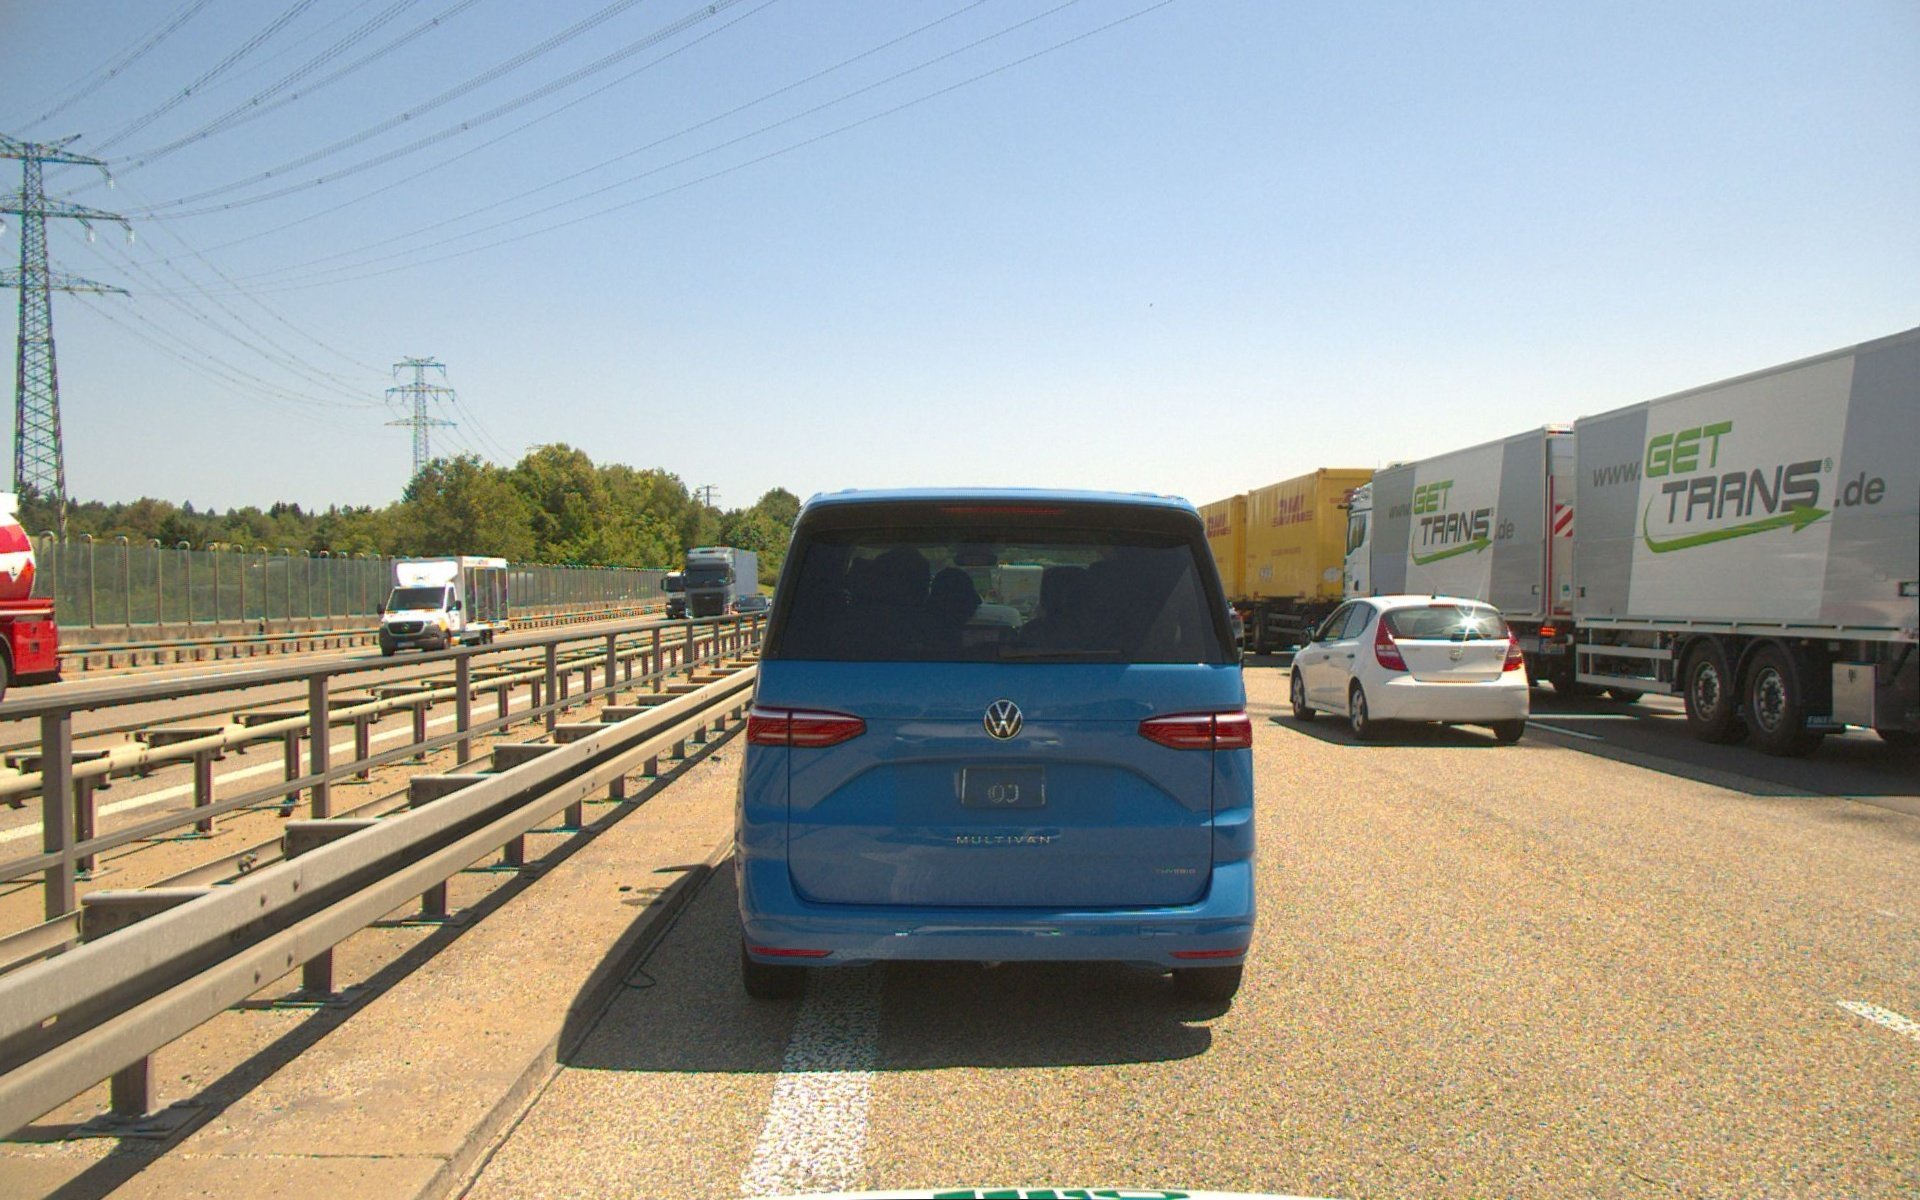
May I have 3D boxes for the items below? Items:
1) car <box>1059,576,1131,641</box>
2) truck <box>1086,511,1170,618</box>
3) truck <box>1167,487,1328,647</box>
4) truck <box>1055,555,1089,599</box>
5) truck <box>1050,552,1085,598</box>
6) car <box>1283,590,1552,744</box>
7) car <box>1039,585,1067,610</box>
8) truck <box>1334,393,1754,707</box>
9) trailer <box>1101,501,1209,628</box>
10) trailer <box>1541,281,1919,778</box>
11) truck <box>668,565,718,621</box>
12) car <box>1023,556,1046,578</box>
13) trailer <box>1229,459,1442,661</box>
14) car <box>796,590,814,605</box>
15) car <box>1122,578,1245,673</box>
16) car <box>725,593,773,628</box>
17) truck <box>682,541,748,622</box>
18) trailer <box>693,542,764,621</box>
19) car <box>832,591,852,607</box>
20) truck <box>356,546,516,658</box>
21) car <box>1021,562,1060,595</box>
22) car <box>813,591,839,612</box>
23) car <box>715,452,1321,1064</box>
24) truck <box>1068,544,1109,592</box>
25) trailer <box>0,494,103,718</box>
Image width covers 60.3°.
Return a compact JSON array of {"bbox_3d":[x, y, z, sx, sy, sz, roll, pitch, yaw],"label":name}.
[{"bbox_3d":[4.294,0.272,53.150,1.922,1.970,3.931,1,0,-1],"label":"car"},{"bbox_3d":[7.707,-1.537,76.943,2.964,4.692,7.920,1,0,0],"label":"truck"},{"bbox_3d":[8.177,-0.856,48.432,2.645,4.159,9.936,1,0,-2],"label":"truck"},{"bbox_3d":[7.019,-1.422,103.698,1.760,2.641,4.305,1,0,-1],"label":"truck"},{"bbox_3d":[6.376,-1.469,98.307,1.706,2.593,4.209,1,0,-1],"label":"truck"},{"bbox_3d":[4.929,0.673,18.381,1.778,1.496,3.930,1,0,-2],"label":"car"},{"bbox_3d":[6.956,-0.164,123.916,1.760,1.782,3.942,1,0,-1],"label":"car"},{"bbox_3d":[8.748,-0.621,26.652,2.794,4.003,10.607,1,0,-1],"label":"truck"},{"bbox_3d":[7.778,-1.312,67.523,2.964,4.692,10.923,1,0,0],"label":"trailer"},{"bbox_3d":[8.977,-0.525,17.164,2.840,3.959,8.212,1,0,-1],"label":"trailer"},{"bbox_3d":[-17.983,-0.467,111.611,2.469,3.596,5.329,-2,0,0],"label":"truck"},{"bbox_3d":[6.413,-2.828,142.374,1.760,1.782,3.942,1,0,-1],"label":"car"},{"bbox_3d":[8.571,-0.809,38.969,2.628,4.159,8.976,1,0,-2],"label":"trailer"},{"bbox_3d":[-17.999,-0.247,192.283,1.770,1.668,3.998,-2,0,-2],"label":"car"},{"bbox_3d":[4.245,0.472,31.959,1.778,1.708,3.931,1,0,-1],"label":"car"},{"bbox_3d":[-9.807,0.501,77.077,1.761,1.524,3.851,-2,0,-1],"label":"car"},{"bbox_3d":[-13.232,-0.963,89.726,2.697,4.188,6.263,-1,0,-1],"label":"truck"},{"bbox_3d":[-13.376,-0.983,96.601,2.650,4.238,12.046,-2,0,-1],"label":"trailer"},{"bbox_3d":[-11.849,-0.101,165.760,1.844,1.579,4.188,1,0,-2],"label":"car"},{"bbox_3d":[-16.900,0.069,53.985,2.511,3.244,8.292,-3,0,-1],"label":"truck"},{"bbox_3d":[4.457,-1.177,92.327,1.880,1.736,3.999,1,0,-1],"label":"car"},{"bbox_3d":[-10.493,0.093,129.892,1.844,1.579,4.188,1,0,-2],"label":"car"},{"bbox_3d":[0.161,0.512,7.231,1.891,1.906,3.999,1,0,-1],"label":"car"},{"bbox_3d":[6.943,-1.709,89.613,1.761,2.492,4.503,1,0,-1],"label":"truck"},{"bbox_3d":[-16.122,0.132,22.184,2.818,3.438,12.006,-3,0,0],"label":"trailer"}]
